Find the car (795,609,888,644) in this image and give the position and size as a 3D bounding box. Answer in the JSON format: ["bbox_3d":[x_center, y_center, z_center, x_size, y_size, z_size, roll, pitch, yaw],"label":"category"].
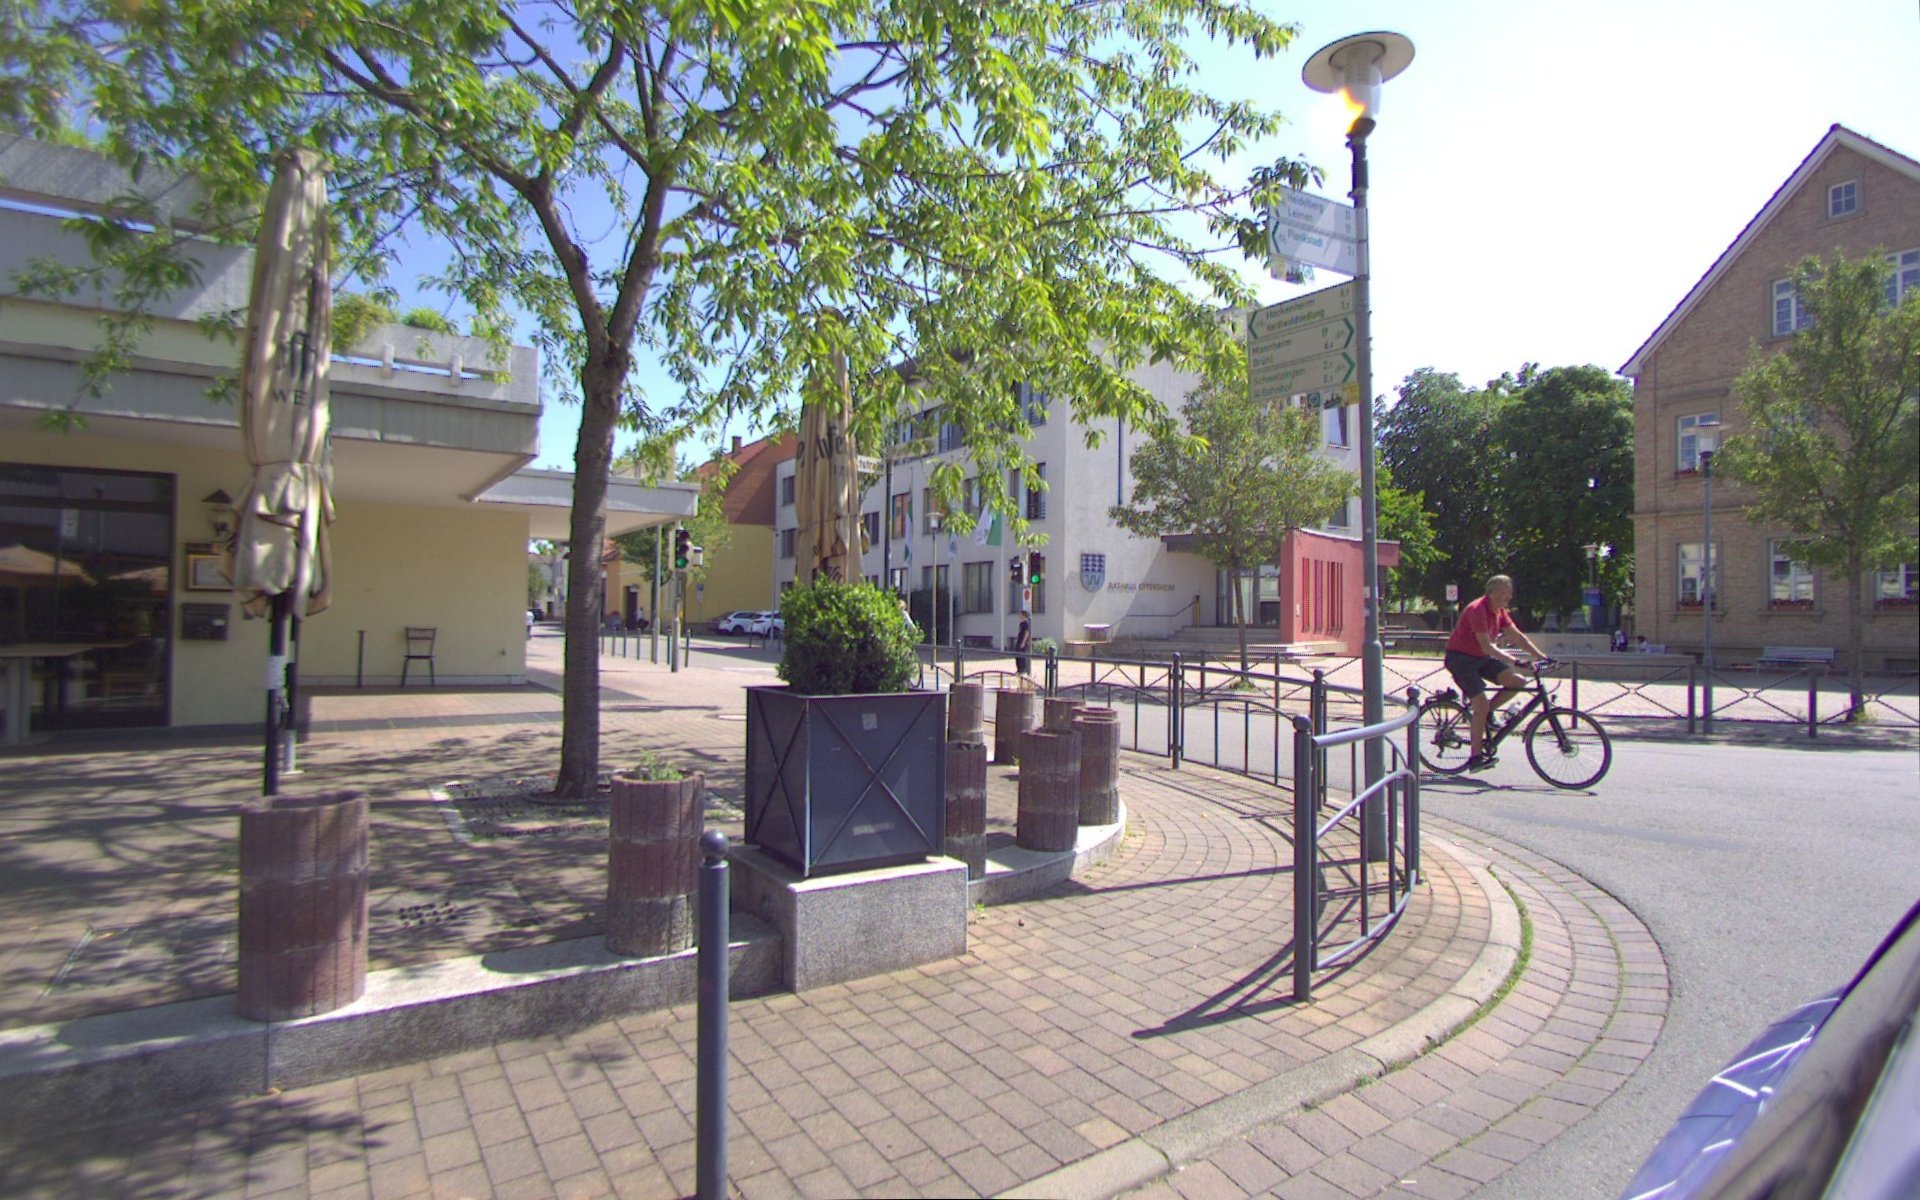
[{"bbox_3d":[-5.499,1.197,47.153,3.921,1.567,1.750,0,-1,-31],"label":"car"}]

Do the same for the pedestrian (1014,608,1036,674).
[{"bbox_3d":[1.658,1.026,25.775,0.540,1.639,0.556,1,-1,5],"label":"pedestrian"}]

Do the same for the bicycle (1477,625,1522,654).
[{"bbox_3d":[20.312,1.476,38.107,1.915,1.018,0.581,-1,0,-32],"label":"bicycle"}]

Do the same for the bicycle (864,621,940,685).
[{"bbox_3d":[-1.162,1.024,20.030,0.676,1.205,1.800,3,-3,-33],"label":"bicycle"}]

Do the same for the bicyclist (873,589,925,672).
[{"bbox_3d":[-1.227,0.593,20.145,0.689,1.601,0.878,1,-1,-32],"label":"bicyclist"}]

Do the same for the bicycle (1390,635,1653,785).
[{"bbox_3d":[5.022,0.946,9.210,0.724,1.205,1.971,4,-4,-33],"label":"bicycle"}]

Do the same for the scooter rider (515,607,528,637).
[{"bbox_3d":[-20.040,1.016,46.240,0.453,1.342,1.134,2,-2,-28],"label":"scooter rider"}]

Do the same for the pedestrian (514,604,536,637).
[{"bbox_3d":[-20.594,0.981,47.904,1.044,1.536,0.505,-1,-4,44],"label":"pedestrian"}]

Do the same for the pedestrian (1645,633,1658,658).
[{"bbox_3d":[21.544,1.413,31.522,0.288,0.742,0.352,-1,-2,43],"label":"pedestrian"}]

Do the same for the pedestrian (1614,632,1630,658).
[{"bbox_3d":[21.070,1.436,32.203,0.366,0.828,0.356,-1,-2,44],"label":"pedestrian"}]

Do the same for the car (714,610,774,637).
[{"bbox_3d":[-12.518,1.345,58.656,3.078,1.469,1.644,0,-1,-29],"label":"car"}]

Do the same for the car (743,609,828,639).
[{"bbox_3d":[-9.391,1.271,54.458,4.240,1.497,1.515,-1,0,-30],"label":"car"}]

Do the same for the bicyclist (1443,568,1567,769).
[{"bbox_3d":[4.986,0.593,9.276,0.689,1.738,0.760,1,-1,-32],"label":"bicyclist"}]

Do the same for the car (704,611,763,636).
[{"bbox_3d":[-13.574,1.383,60.600,3.196,1.419,1.375,0,-1,-31],"label":"car"}]

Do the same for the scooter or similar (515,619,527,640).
[{"bbox_3d":[-20.032,1.344,46.215,0.403,0.978,0.961,2,-2,-27],"label":"scooter or similar"}]
